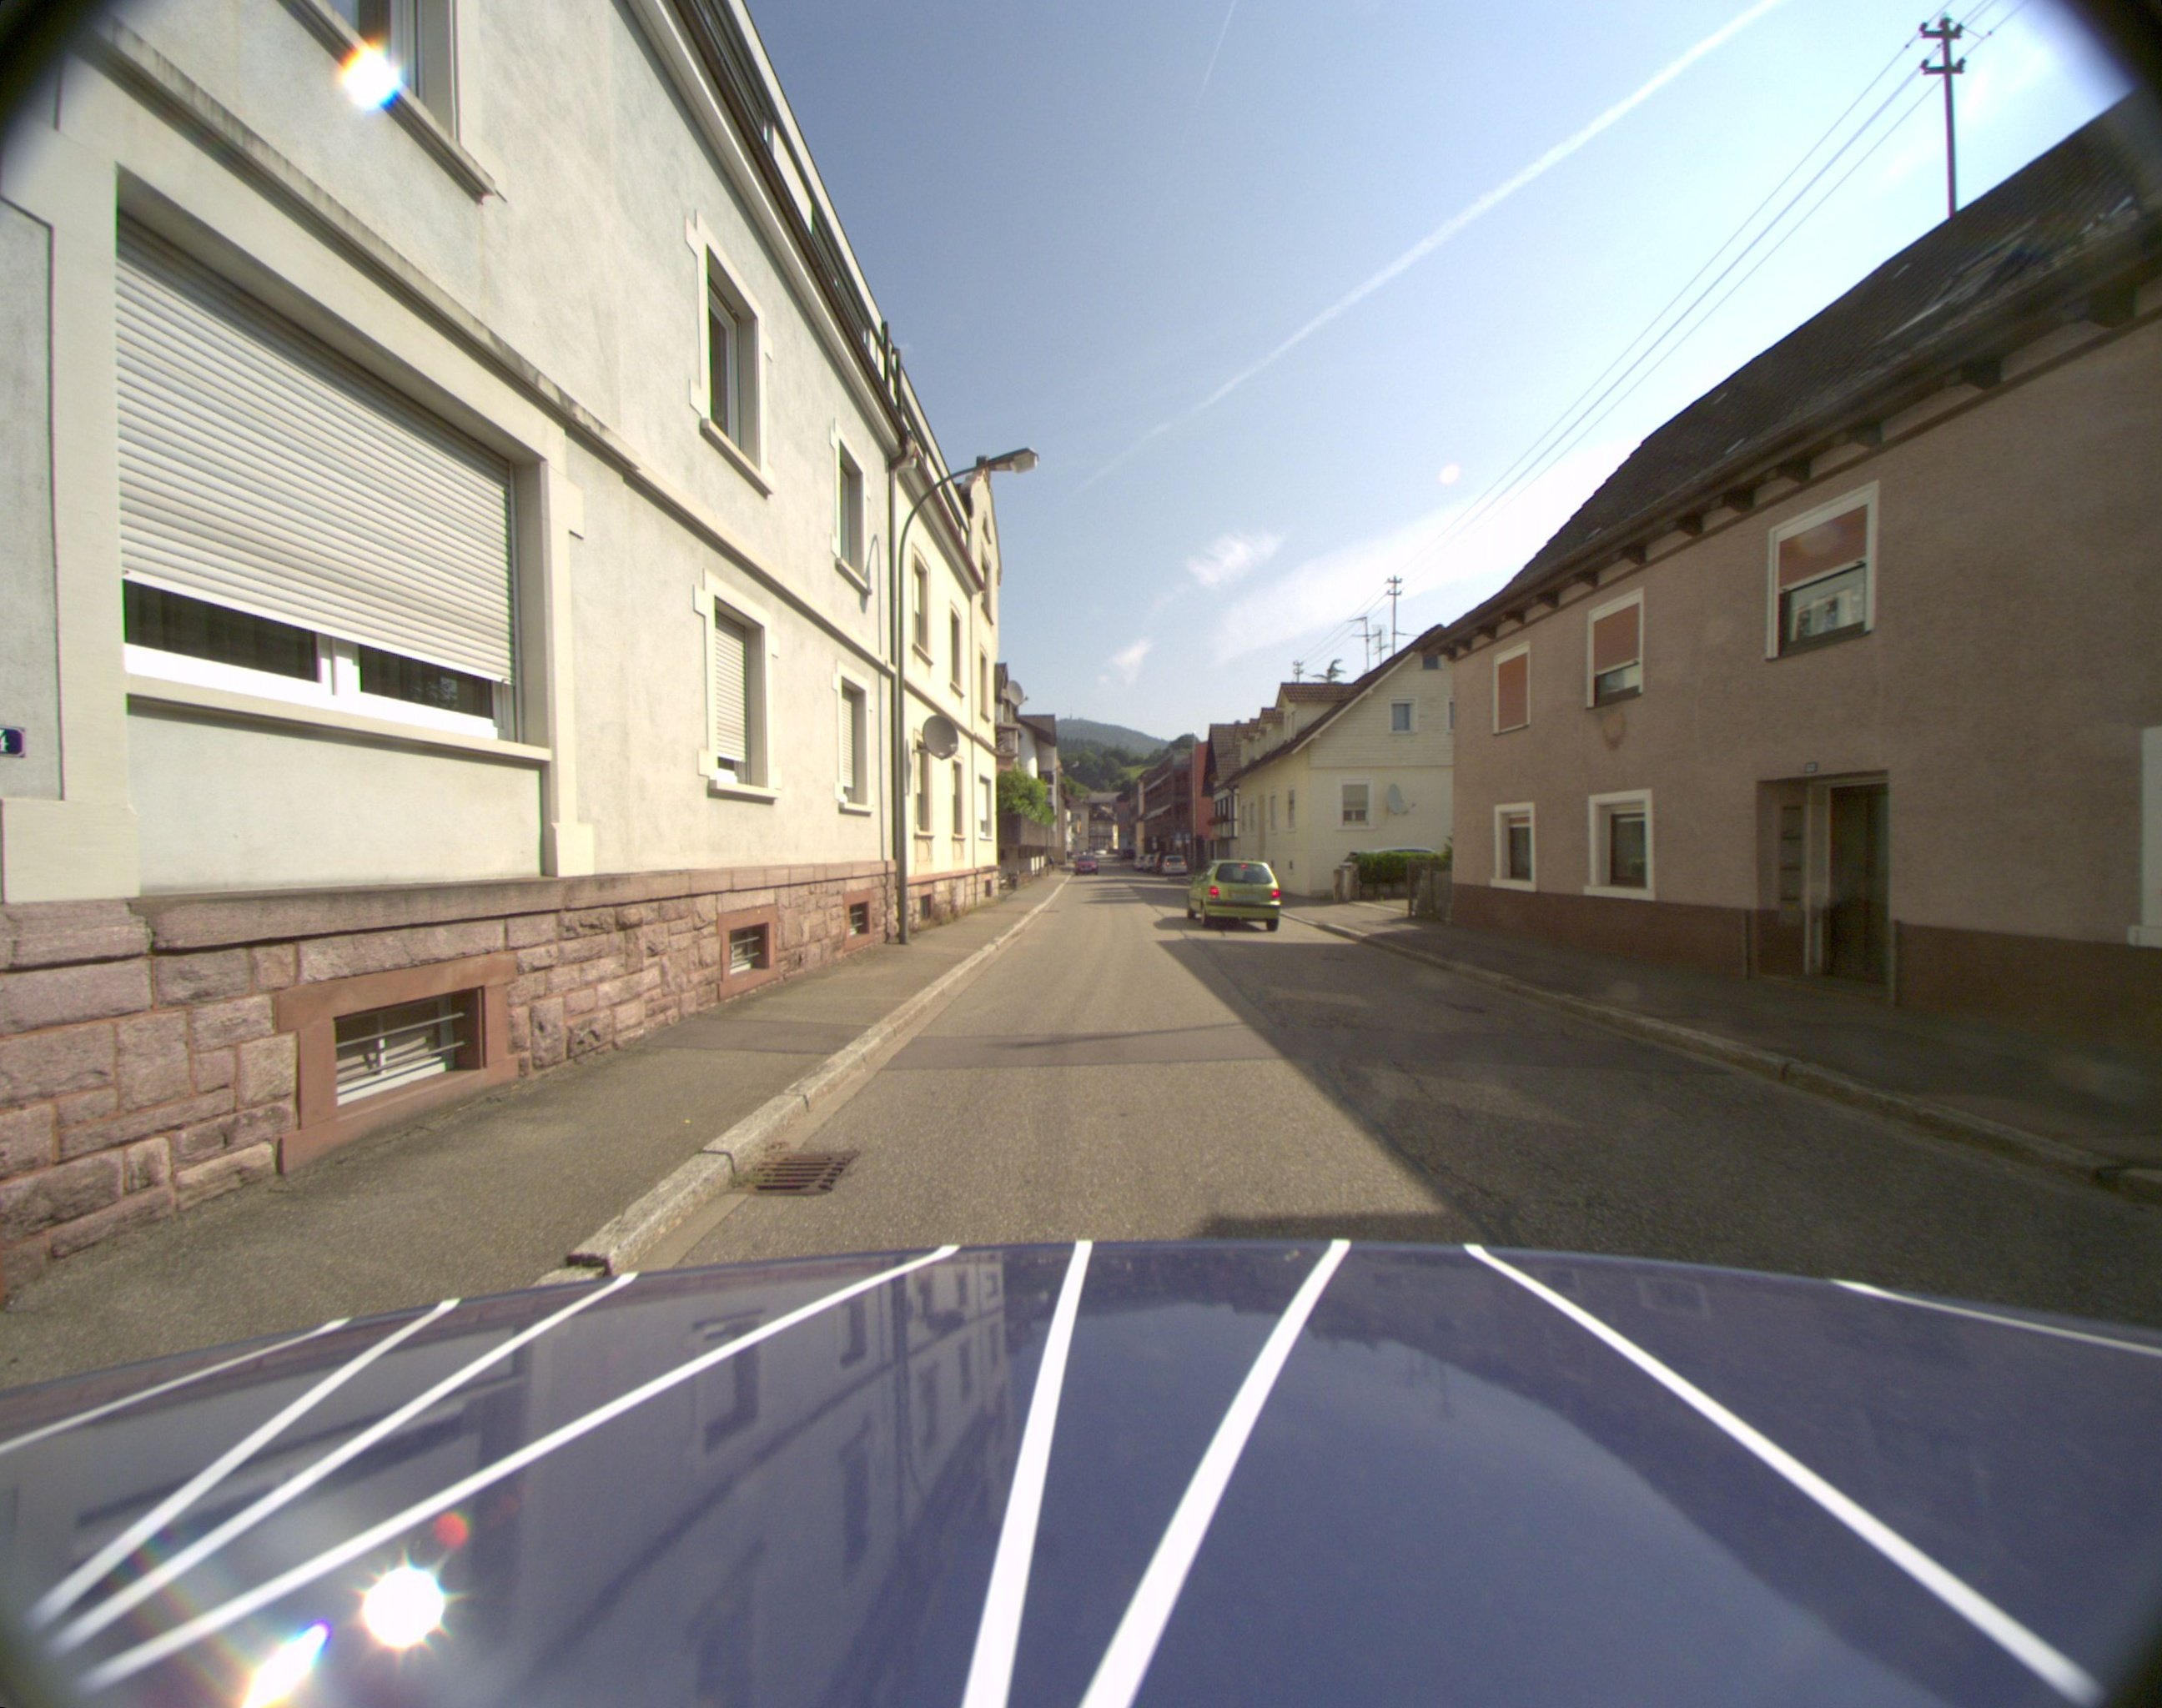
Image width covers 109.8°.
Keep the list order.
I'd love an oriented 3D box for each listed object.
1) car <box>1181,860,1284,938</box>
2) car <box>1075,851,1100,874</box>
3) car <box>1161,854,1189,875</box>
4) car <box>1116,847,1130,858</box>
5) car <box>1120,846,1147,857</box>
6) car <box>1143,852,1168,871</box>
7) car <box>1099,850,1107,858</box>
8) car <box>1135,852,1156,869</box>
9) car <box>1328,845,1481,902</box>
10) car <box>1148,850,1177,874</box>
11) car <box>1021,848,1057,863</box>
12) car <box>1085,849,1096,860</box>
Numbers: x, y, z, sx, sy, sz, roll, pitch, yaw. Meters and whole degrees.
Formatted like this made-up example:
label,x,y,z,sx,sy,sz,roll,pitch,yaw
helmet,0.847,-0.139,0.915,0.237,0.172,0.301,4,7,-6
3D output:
label,x,y,z,sx,sy,sz,roll,pitch,yaw
car,3.327,0.930,17.284,1.600,1.456,3.659,3,0,1
car,0.481,0.611,59.031,1.822,1.652,3.999,-1,1,-1
car,6.903,0.736,55.979,1.670,1.423,3.569,-2,0,1
car,6.375,-0.241,115.233,1.787,1.566,3.888,-4,1,0
car,8.566,-0.391,123.591,4.000,1.674,1.834,-1,-1,-8
car,6.509,0.677,66.902,1.679,1.580,3.948,-1,0,-1
car,5.051,-0.013,176.450,1.742,2.002,3.840,-1,0,2
car,6.227,0.621,73.775,1.678,1.546,3.764,-2,0,-1
car,10.205,0.595,24.170,3.997,1.584,1.907,-2,0,-2
car,6.534,0.606,61.233,1.724,1.786,4.268,-1,0,-2
car,-4.596,0.178,83.491,3.837,1.470,1.700,-3,0,-2
car,1.898,0.134,145.629,1.998,2.002,3.999,-2,1,1
